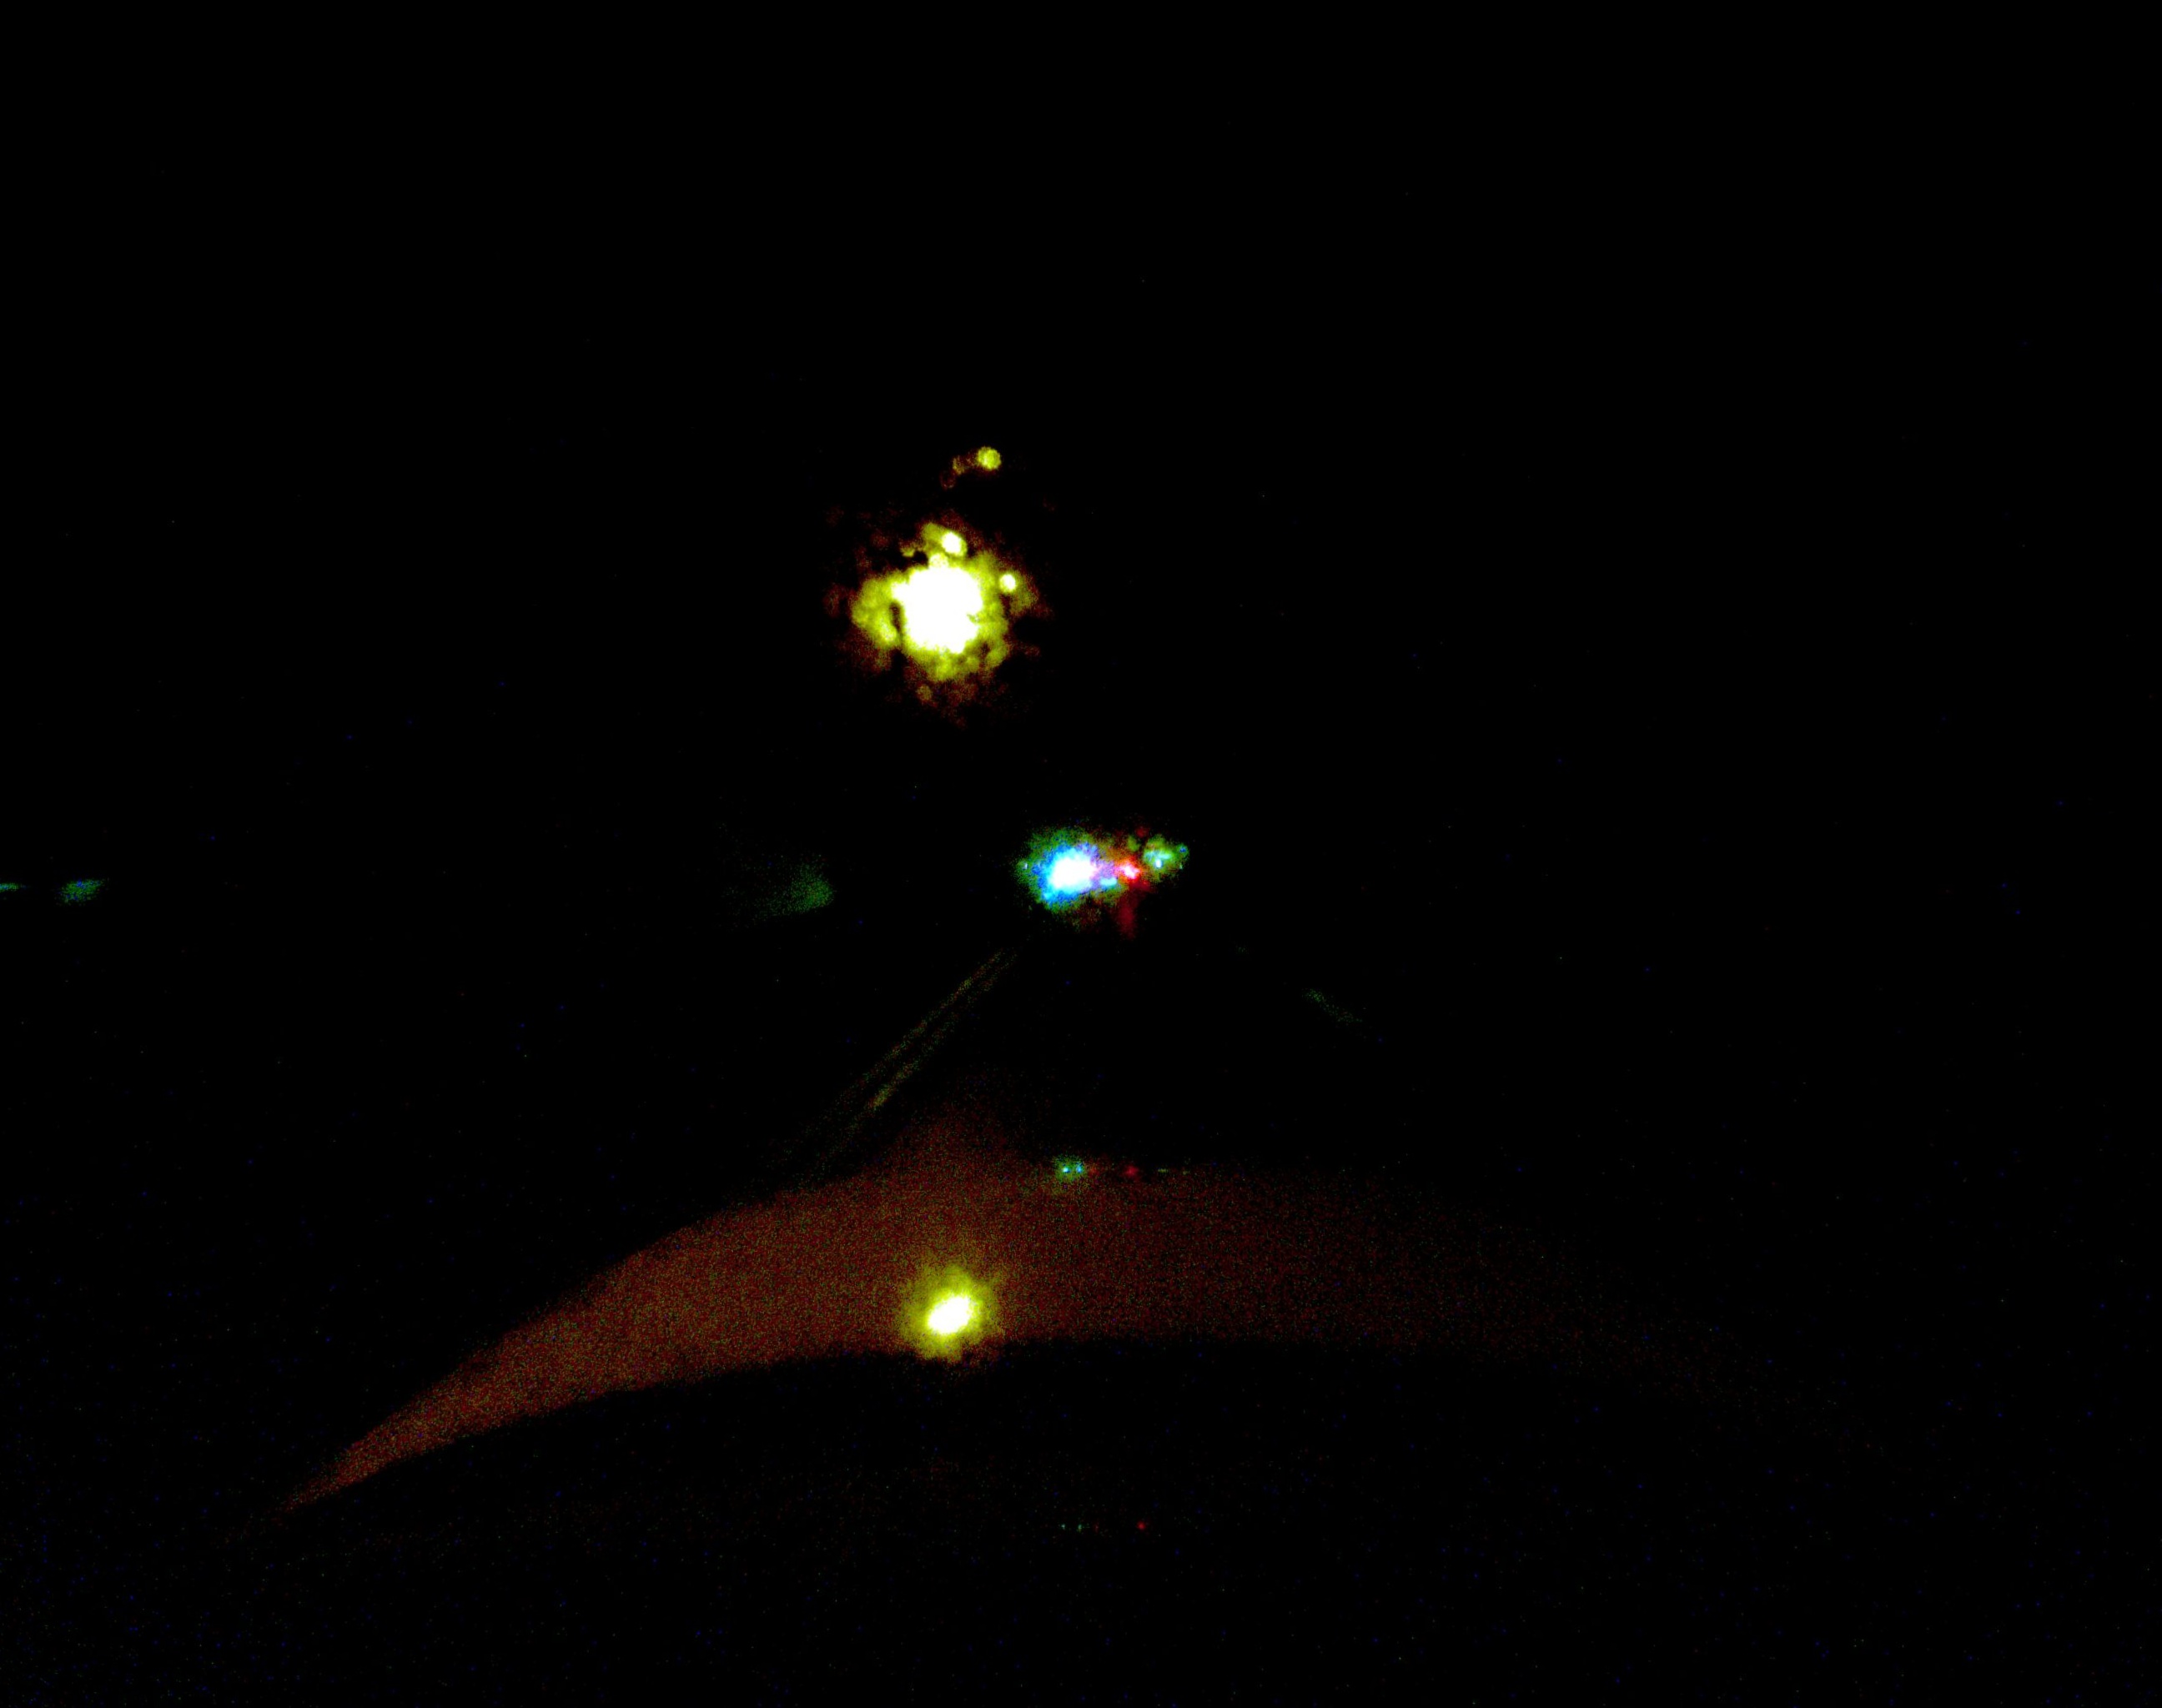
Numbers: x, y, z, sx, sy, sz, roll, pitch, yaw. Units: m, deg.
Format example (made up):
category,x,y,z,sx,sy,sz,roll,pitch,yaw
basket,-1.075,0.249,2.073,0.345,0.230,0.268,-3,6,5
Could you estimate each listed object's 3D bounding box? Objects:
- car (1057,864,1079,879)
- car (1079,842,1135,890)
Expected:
category,x,y,z,sx,sy,sz,roll,pitch,yaw
car,-1.263,1.737,83.101,1.986,1.474,4.278,0,-1,2
car,0.877,0.430,29.619,1.803,1.622,3.998,-1,-1,-1
